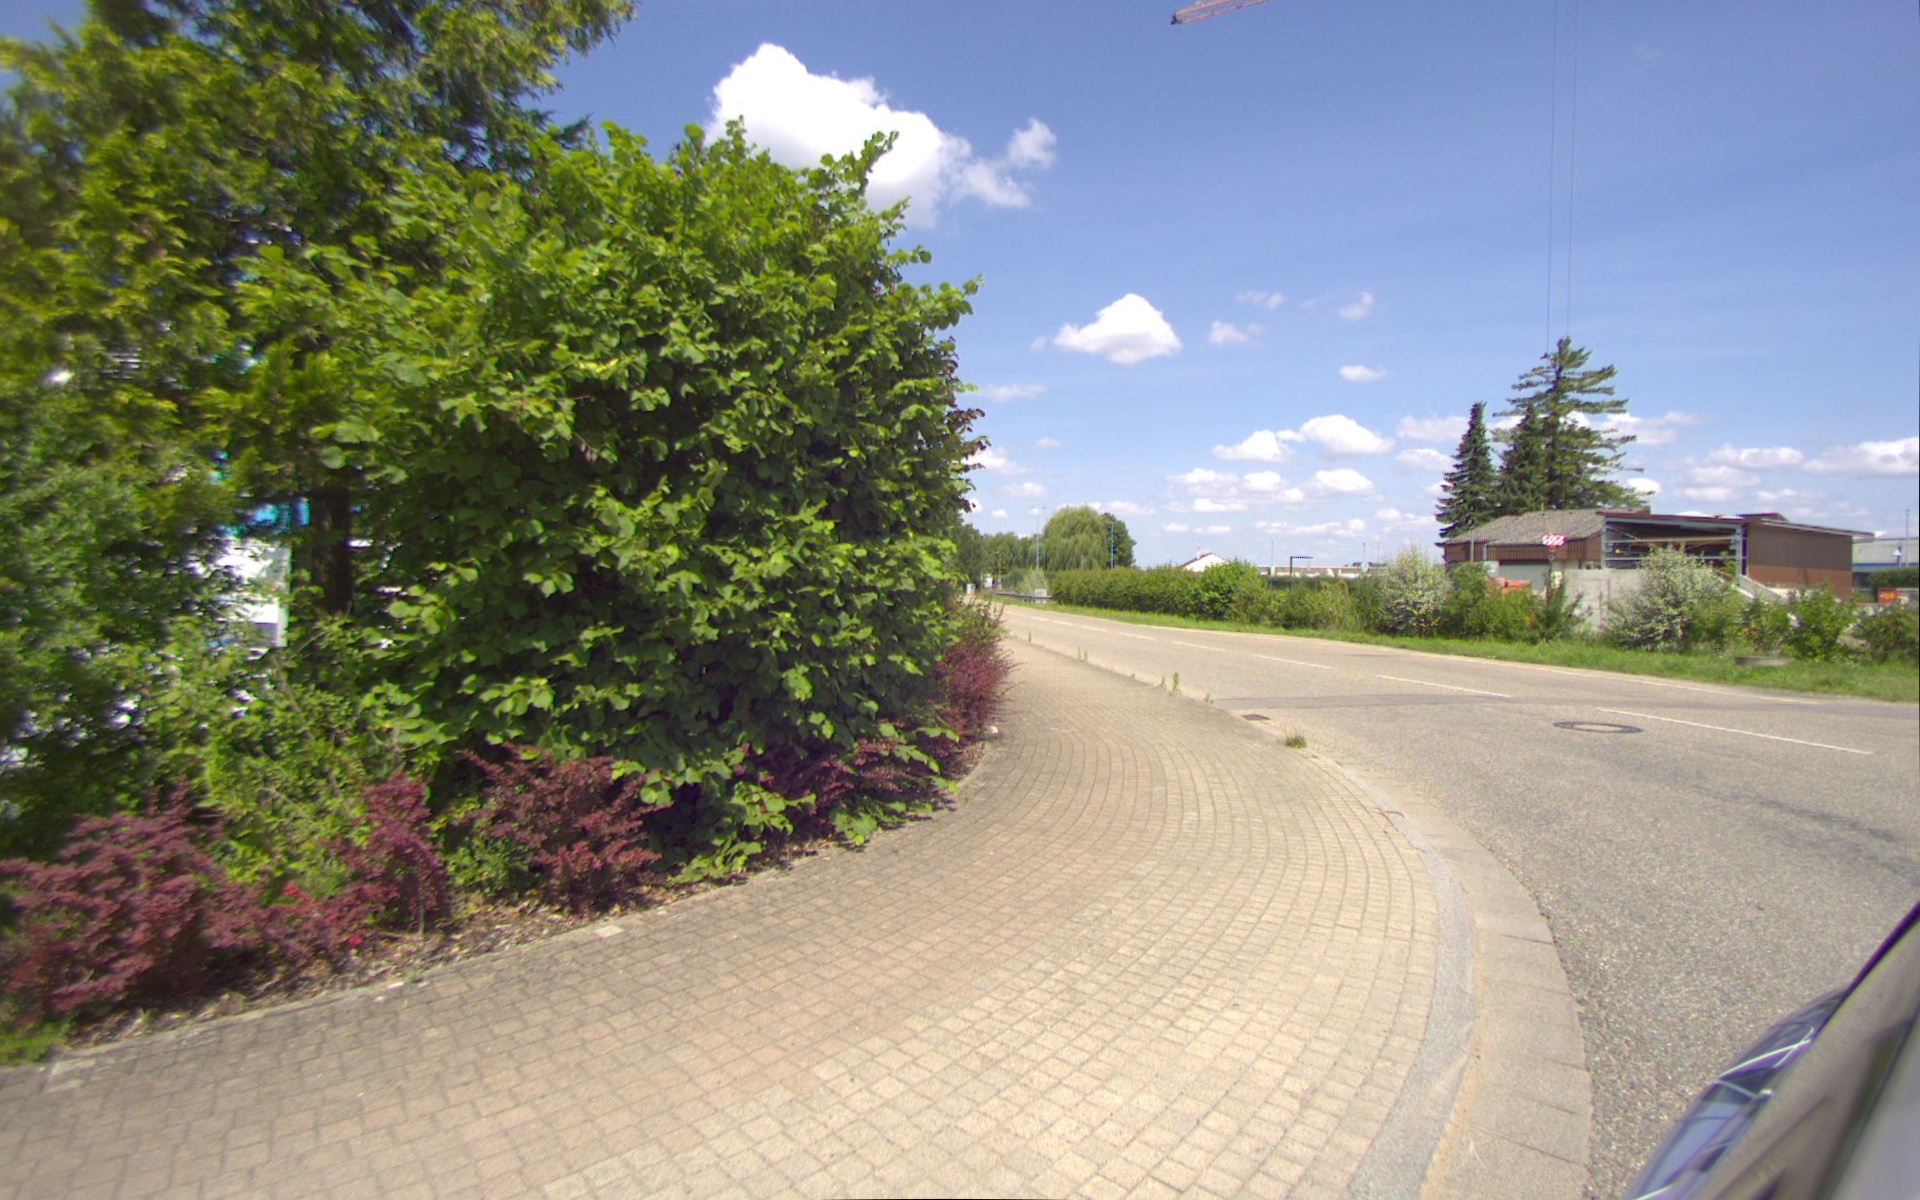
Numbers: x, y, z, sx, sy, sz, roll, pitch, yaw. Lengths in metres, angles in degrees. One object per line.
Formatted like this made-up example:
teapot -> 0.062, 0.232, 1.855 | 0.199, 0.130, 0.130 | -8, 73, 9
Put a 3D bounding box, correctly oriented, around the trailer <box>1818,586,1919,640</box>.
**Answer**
trailer -> 34.561, 0.470, 36.394 | 1.787, 1.801, 5.402 | -2, 2, -33
